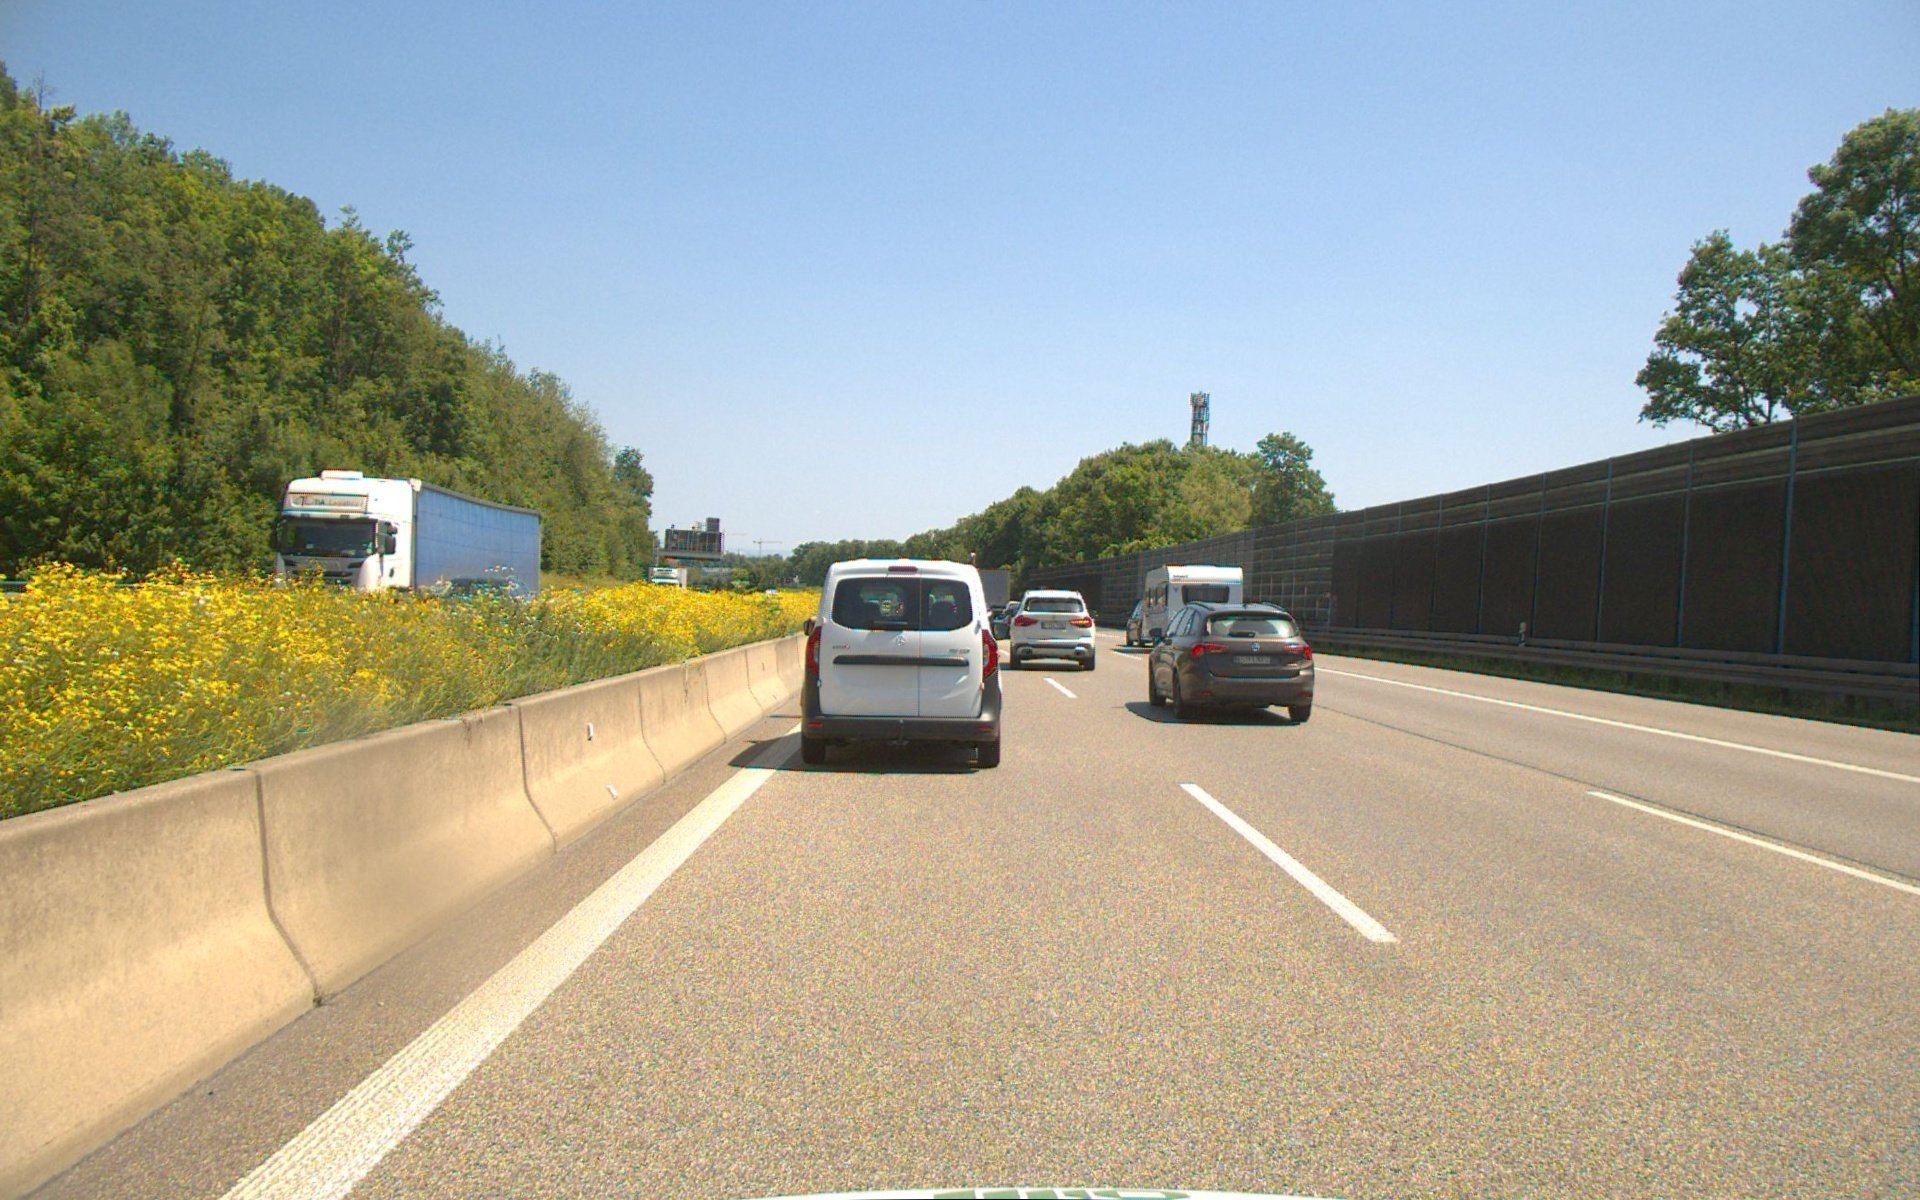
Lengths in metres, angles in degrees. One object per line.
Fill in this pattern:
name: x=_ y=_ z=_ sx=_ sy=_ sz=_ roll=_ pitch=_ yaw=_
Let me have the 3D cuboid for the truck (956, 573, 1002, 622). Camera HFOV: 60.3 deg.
truck: x=1.566 y=-0.208 z=145.144 sx=3.022 sy=4.055 sz=9.635 roll=1 pitch=0 yaw=-5

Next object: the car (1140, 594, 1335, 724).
car: x=3.630 y=0.713 z=22.396 sx=1.801 sy=1.539 sz=4.401 roll=2 pitch=0 yaw=-1

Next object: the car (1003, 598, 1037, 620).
car: x=4.091 y=0.603 z=112.540 sx=1.788 sy=1.449 sz=3.996 roll=2 pitch=0 yaw=-5

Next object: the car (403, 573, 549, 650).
car: x=-10.828 y=0.245 z=37.353 sx=1.953 sy=1.589 sz=4.638 roll=2 pitch=0 yaw=-1

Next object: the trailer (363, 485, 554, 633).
trailer: x=-14.747 y=-1.118 z=49.583 sx=2.724 sy=3.924 sz=10.168 roll=1 pitch=0 yaw=-1

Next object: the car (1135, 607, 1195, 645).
car: x=8.297 y=1.039 z=67.231 sx=1.787 sy=1.449 sz=3.998 roll=1 pitch=0 yaw=-2

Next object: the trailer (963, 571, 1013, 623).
trailer: x=2.270 y=-0.233 z=137.356 sx=3.022 sy=4.055 sz=10.311 roll=1 pitch=0 yaw=-5

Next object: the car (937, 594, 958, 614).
car: x=-1.369 y=0.418 z=177.329 sx=1.955 sy=2.049 sz=3.996 roll=1 pitch=0 yaw=-5

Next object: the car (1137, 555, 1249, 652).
car: x=7.186 y=0.125 z=51.789 sx=2.429 sy=2.814 sz=6.217 roll=1 pitch=0 yaw=-2

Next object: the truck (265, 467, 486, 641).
truck: x=-14.597 y=-1.069 z=42.121 sx=2.692 sy=3.924 sz=8.411 roll=1 pitch=0 yaw=-1

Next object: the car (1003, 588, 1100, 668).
car: x=1.969 y=0.573 z=36.616 sx=1.833 sy=1.636 sz=3.878 roll=2 pitch=0 yaw=-1

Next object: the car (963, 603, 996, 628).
car: x=1.144 y=0.930 z=99.563 sx=1.787 sy=1.449 sz=3.998 roll=1 pitch=0 yaw=-2

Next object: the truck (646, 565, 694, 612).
truck: x=-23.032 y=-0.909 z=131.485 sx=2.680 sy=3.535 sz=7.311 roll=1 pitch=0 yaw=-2

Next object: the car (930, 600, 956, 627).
car: x=-1.349 y=1.077 z=130.137 sx=1.788 sy=2.024 sz=3.996 roll=2 pitch=0 yaw=-5

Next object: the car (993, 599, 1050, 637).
car: x=2.463 y=0.722 z=67.345 sx=1.788 sy=1.449 sz=3.995 roll=1 pitch=0 yaw=-5

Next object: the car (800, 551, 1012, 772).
car: x=-0.483 y=0.525 z=15.951 sx=1.766 sy=1.840 sz=3.999 roll=1 pitch=0 yaw=-1
